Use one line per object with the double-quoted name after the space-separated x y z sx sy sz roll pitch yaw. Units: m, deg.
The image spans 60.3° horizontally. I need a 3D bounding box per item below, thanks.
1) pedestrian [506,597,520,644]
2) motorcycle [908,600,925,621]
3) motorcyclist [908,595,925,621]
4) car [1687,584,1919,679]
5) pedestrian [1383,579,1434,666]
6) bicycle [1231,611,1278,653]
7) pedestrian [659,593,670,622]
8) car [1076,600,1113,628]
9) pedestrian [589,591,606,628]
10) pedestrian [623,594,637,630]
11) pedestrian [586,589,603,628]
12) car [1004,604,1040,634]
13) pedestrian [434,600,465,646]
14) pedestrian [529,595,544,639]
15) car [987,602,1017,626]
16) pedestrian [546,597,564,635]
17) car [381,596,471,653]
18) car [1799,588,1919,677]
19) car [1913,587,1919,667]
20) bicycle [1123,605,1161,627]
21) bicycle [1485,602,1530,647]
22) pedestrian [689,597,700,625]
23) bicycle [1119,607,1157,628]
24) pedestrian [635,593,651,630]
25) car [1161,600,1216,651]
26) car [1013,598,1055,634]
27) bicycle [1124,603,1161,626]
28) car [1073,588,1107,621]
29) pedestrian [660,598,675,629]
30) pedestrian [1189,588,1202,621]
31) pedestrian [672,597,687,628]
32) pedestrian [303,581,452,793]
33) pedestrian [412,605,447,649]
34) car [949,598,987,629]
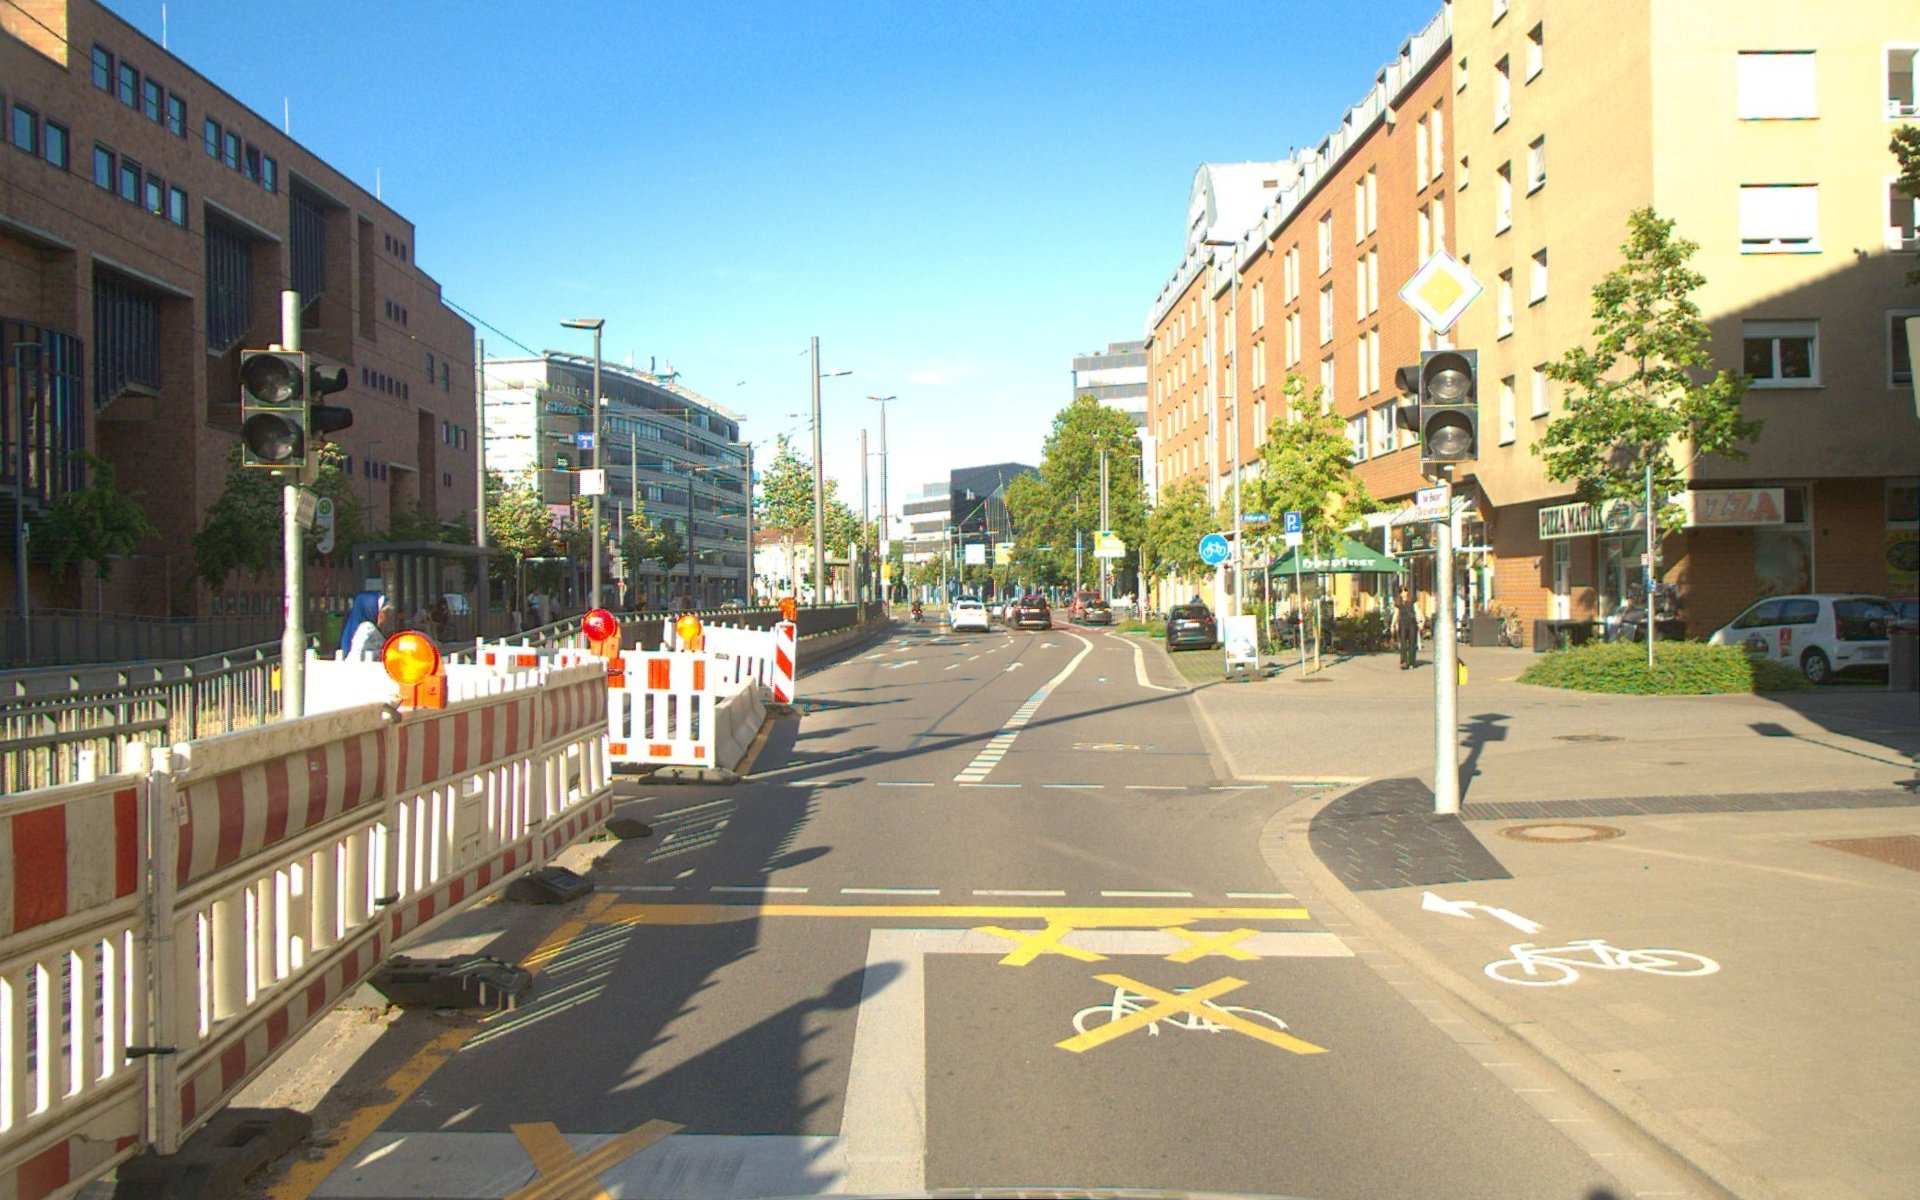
-16.049 0.724 59.420 0.370 1.677 0.416 1 0 0 "pedestrian"
-2.784 0.677 106.304 0.998 1.335 2.914 1 0 0 "motorcycle"
-2.787 0.500 106.304 0.998 1.631 1.148 1 0 0 "motorcyclist"
14.446 0.495 28.431 1.633 1.500 3.825 1 0 -12 "car"
9.551 0.477 35.196 0.866 1.794 1.105 -3 -1 21 "pedestrian"
8.431 0.917 47.424 0.750 1.100 1.996 -6 -1 -4 "bicycle"
-17.120 0.424 95.762 0.552 1.637 0.616 0 0 -1 "pedestrian"
8.000 0.835 98.627 1.809 1.588 4.632 1 0 0 "car"
-16.201 0.440 73.901 0.610 1.640 0.616 0 0 -1 "pedestrian"
-16.105 0.596 80.704 0.570 1.769 0.616 0 0 -1 "pedestrian"
-16.185 0.380 73.274 0.610 1.745 0.616 0 0 -1 "pedestrian"
3.481 1.078 93.828 1.813 1.668 4.378 0 -1 -1 "car"
-15.020 0.673 48.649 0.633 1.331 0.721 -3 0 -1 "pedestrian"
-15.938 0.641 62.254 0.370 1.650 0.553 1 0 0 "pedestrian"
2.808 0.901 110.825 1.813 1.524 4.378 0 0 -1 "car"
-15.883 0.624 64.914 0.528 1.485 0.642 1 0 0 "pedestrian"
-18.946 0.835 58.911 1.954 1.913 4.580 -1 0 -4 "car"
16.622 0.549 28.933 1.602 1.478 3.647 1 0 -10 "car"
18.948 0.526 29.338 1.601 1.480 3.728 1 0 -7 "car"
9.692 0.869 88.091 1.903 1.094 0.555 -2 -1 10 "bicycle"
15.288 0.674 46.211 0.601 1.190 1.536 -2 0 -4 "bicycle"
-17.599 0.710 109.707 0.601 1.849 0.896 0 0 0 "pedestrian"
9.334 0.911 86.861 1.904 1.040 0.502 -2 -1 17 "bicycle"
-14.972 0.534 78.146 0.627 1.725 0.541 1 0 -1 "pedestrian"
7.884 0.855 57.347 1.684 1.665 4.234 -2 0 5 "car"
3.823 0.819 86.247 1.934 1.790 4.632 1 0 0 "car"
9.787 0.760 88.614 1.903 1.157 0.491 -2 -1 10 "bicycle"
8.240 0.299 105.017 1.822 1.995 4.000 2 0 1 "car"
-15.919 0.722 89.959 0.627 1.636 0.945 1 0 0 "pedestrian"
13.387 0.247 93.981 0.594 1.853 0.748 0 -1 -1 "pedestrian"
-15.281 0.685 89.957 0.627 1.672 0.945 1 0 0 "pedestrian"
-4.254 0.615 12.147 0.773 1.483 0.946 -1 0 -3 "pedestrian"
-14.945 0.755 46.610 0.706 1.188 0.721 -3 0 -1 "pedestrian"
0.381 0.648 80.648 1.744 1.439 4.817 1 0 -1 "car"
